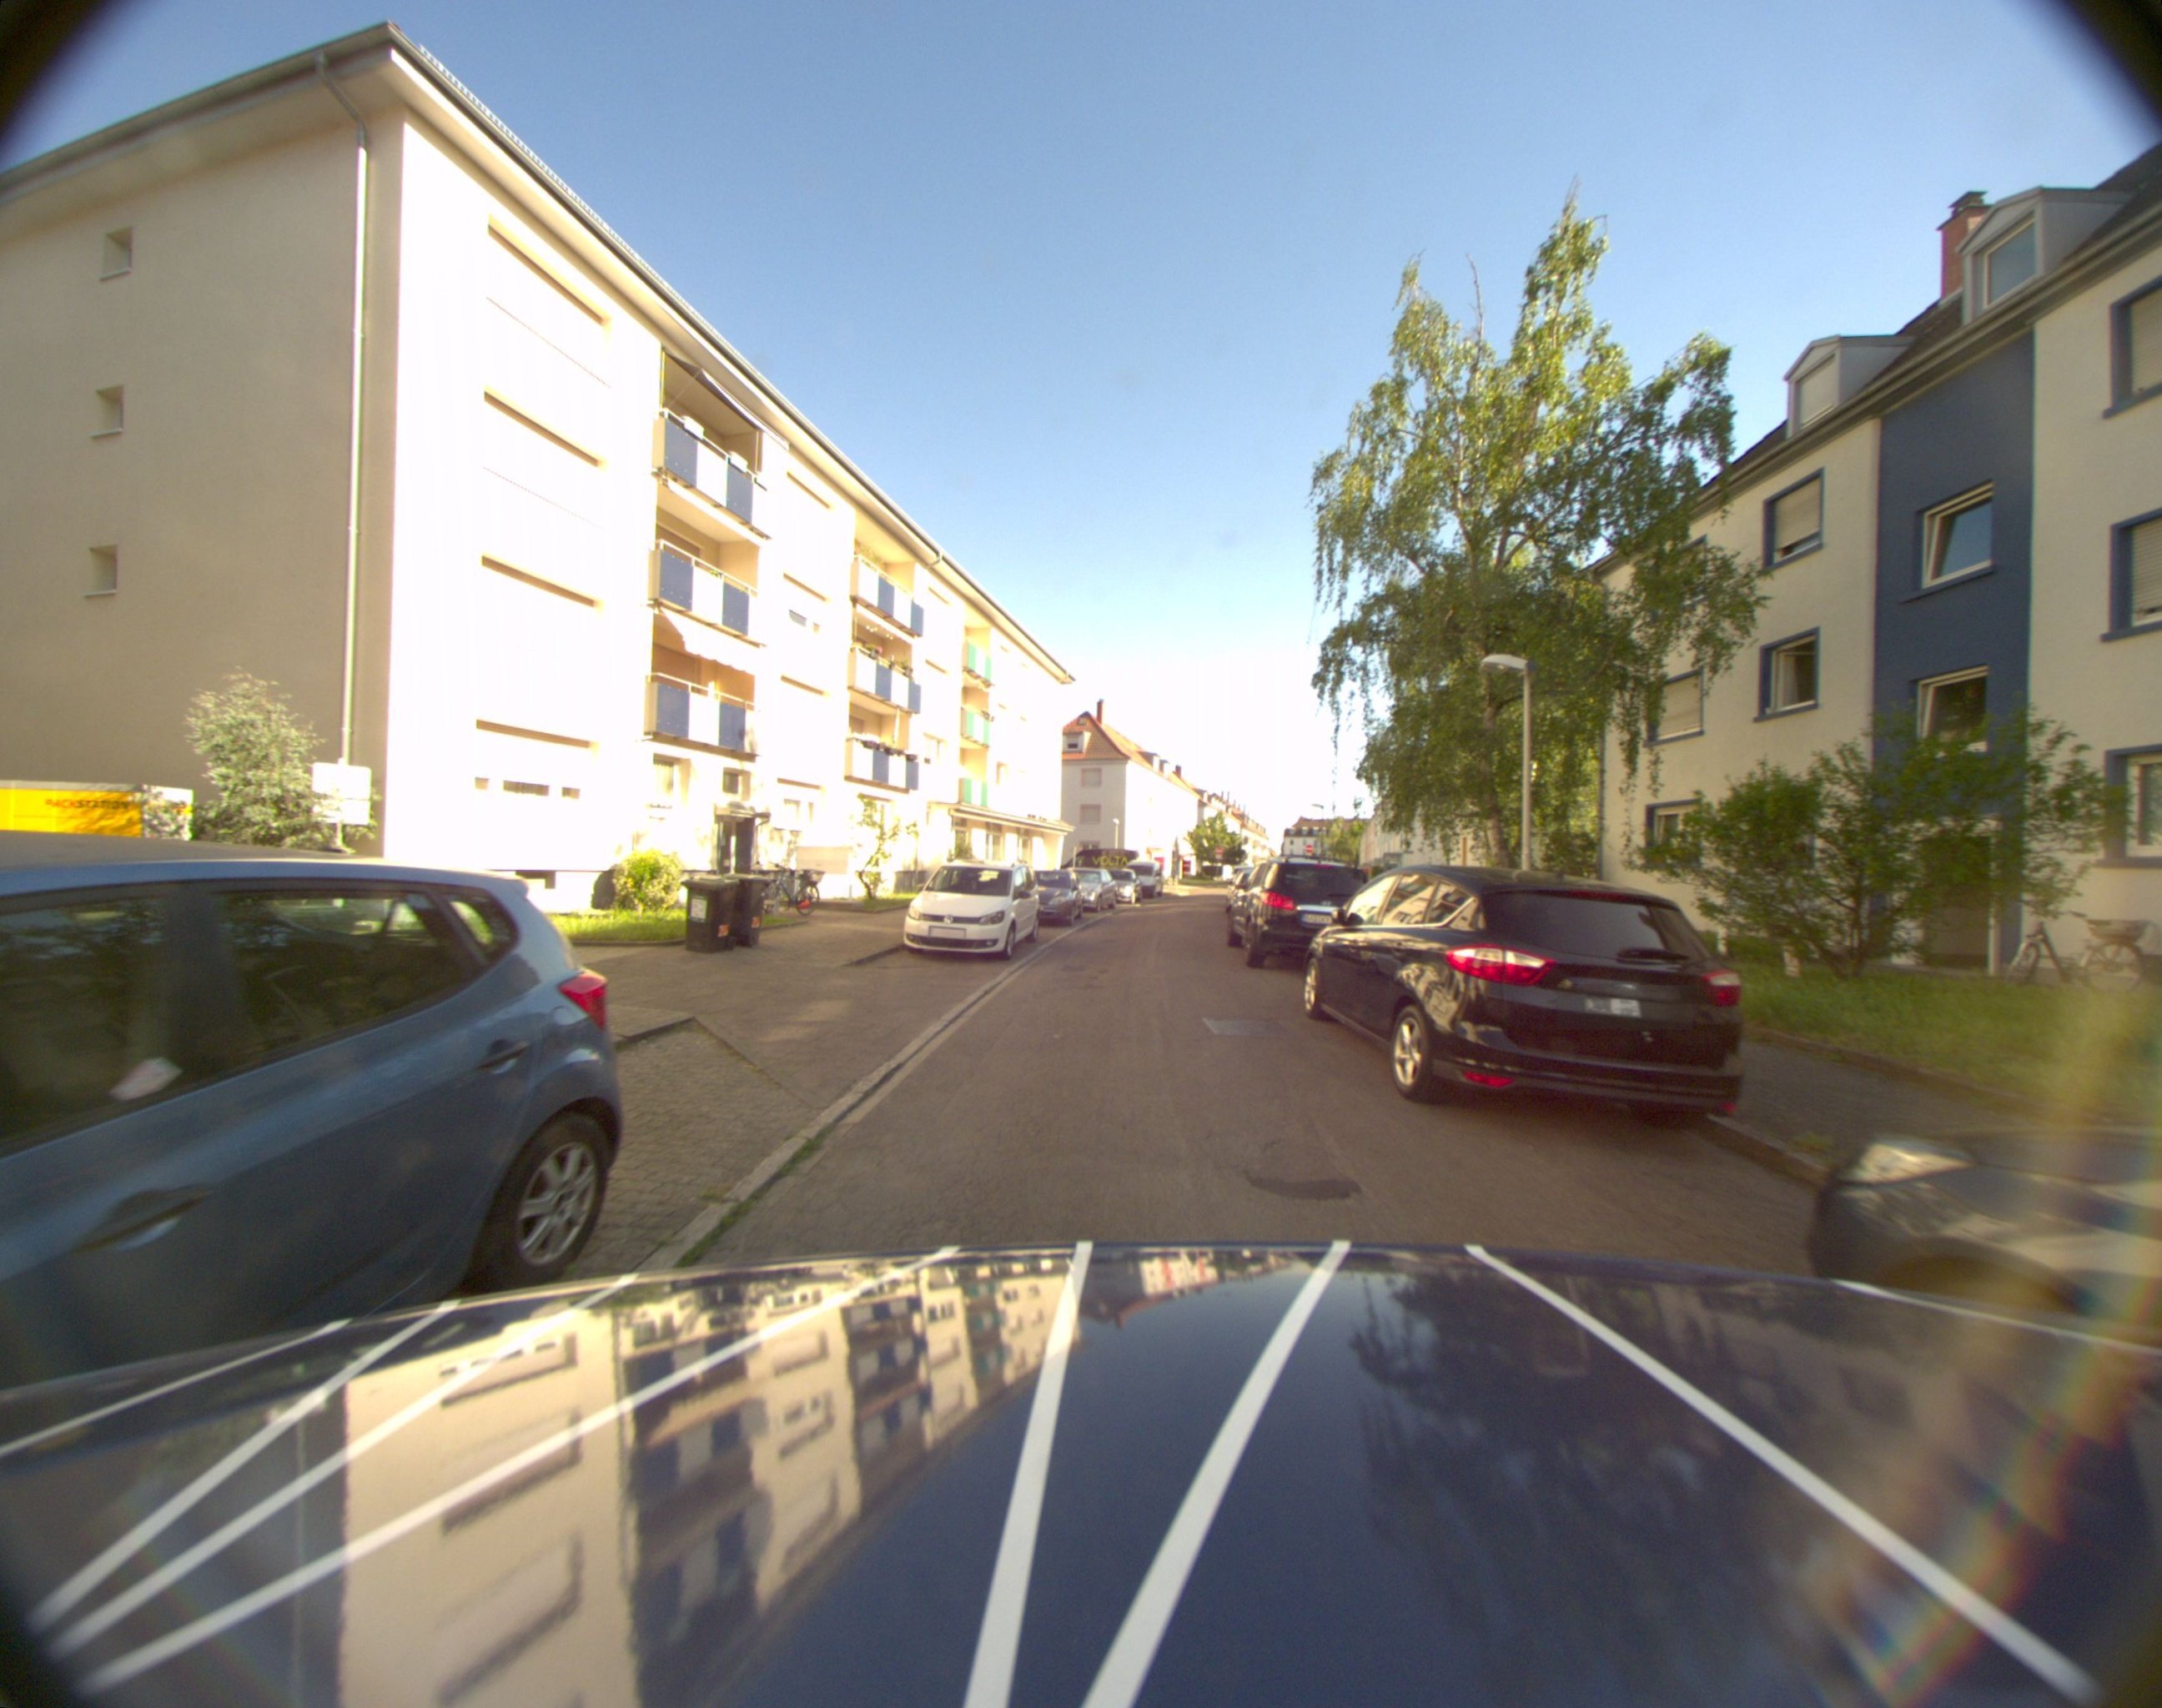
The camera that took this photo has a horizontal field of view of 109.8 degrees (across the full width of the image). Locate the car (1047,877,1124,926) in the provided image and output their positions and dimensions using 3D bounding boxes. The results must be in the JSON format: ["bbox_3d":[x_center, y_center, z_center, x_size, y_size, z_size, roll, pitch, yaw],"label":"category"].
[{"bbox_3d":[0.253,1.609,26.716,1.680,1.438,4.729,-1,0,13],"label":"car"}]

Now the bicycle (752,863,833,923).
[{"bbox_3d":[-6.120,0.808,16.194,0.515,1.196,1.764,4,0,20],"label":"bicycle"}]

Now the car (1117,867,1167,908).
[{"bbox_3d":[3.107,1.609,38.027,1.749,1.813,4.137,3,0,14],"label":"car"}]

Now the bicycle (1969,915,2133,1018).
[{"bbox_3d":[11.948,1.376,9.377,1.412,1.145,0.415,3,0,1],"label":"bicycle"}]

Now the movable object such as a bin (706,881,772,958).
[{"bbox_3d":[-5.126,0.964,11.399,0.584,1.050,0.641,5,2,11],"label":"movable object such as a bin"}]

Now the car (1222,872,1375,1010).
[{"bbox_3d":[3.418,1.251,12.731,1.558,1.704,4.339,5,0,5],"label":"car"}]

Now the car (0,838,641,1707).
[{"bbox_3d":[-2.798,0.816,1.235,1.770,1.626,4.040,3,1,0],"label":"car"}]

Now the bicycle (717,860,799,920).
[{"bbox_3d":[-6.937,0.762,16.424,0.515,1.196,1.836,4,0,17],"label":"bicycle"}]

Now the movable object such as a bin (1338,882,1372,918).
[{"bbox_3d":[11.067,1.853,30.694,1.221,1.372,0.768,1,0,21],"label":"movable object such as a bin"}]

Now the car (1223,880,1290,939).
[{"bbox_3d":[5.348,1.630,23.576,1.680,1.434,4.284,5,0,10],"label":"car"}]

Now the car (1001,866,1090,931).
[{"bbox_3d":[-0.833,1.117,20.644,1.697,1.423,4.690,3,0,6],"label":"car"}]

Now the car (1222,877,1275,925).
[{"bbox_3d":[6.346,1.675,28.524,1.680,1.444,4.626,5,0,14],"label":"car"}]

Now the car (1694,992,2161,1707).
[{"bbox_3d":[2.803,1.163,0.363,1.698,1.436,4.020,3,-1,0],"label":"car"}]

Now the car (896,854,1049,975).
[{"bbox_3d":[-1.799,0.934,14.026,1.697,1.646,4.390,3,2,6],"label":"car"}]

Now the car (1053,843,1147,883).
[{"bbox_3d":[1.292,0.626,51.324,5.948,2.529,2.003,1,-1,16],"label":"car"}]

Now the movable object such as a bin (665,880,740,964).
[{"bbox_3d":[-5.323,0.938,10.714,0.584,1.089,0.683,4,0,11],"label":"movable object such as a bin"}]

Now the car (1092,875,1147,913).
[{"bbox_3d":[1.728,1.675,32.714,1.680,1.399,4.550,-1,0,12],"label":"car"}]

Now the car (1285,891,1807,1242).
[{"bbox_3d":[2.970,1.202,6.038,1.697,1.551,4.158,4,-1,3],"label":"car"}]

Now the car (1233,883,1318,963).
[{"bbox_3d":[4.479,1.533,17.970,1.558,1.434,3.971,5,0,10],"label":"car"}]
